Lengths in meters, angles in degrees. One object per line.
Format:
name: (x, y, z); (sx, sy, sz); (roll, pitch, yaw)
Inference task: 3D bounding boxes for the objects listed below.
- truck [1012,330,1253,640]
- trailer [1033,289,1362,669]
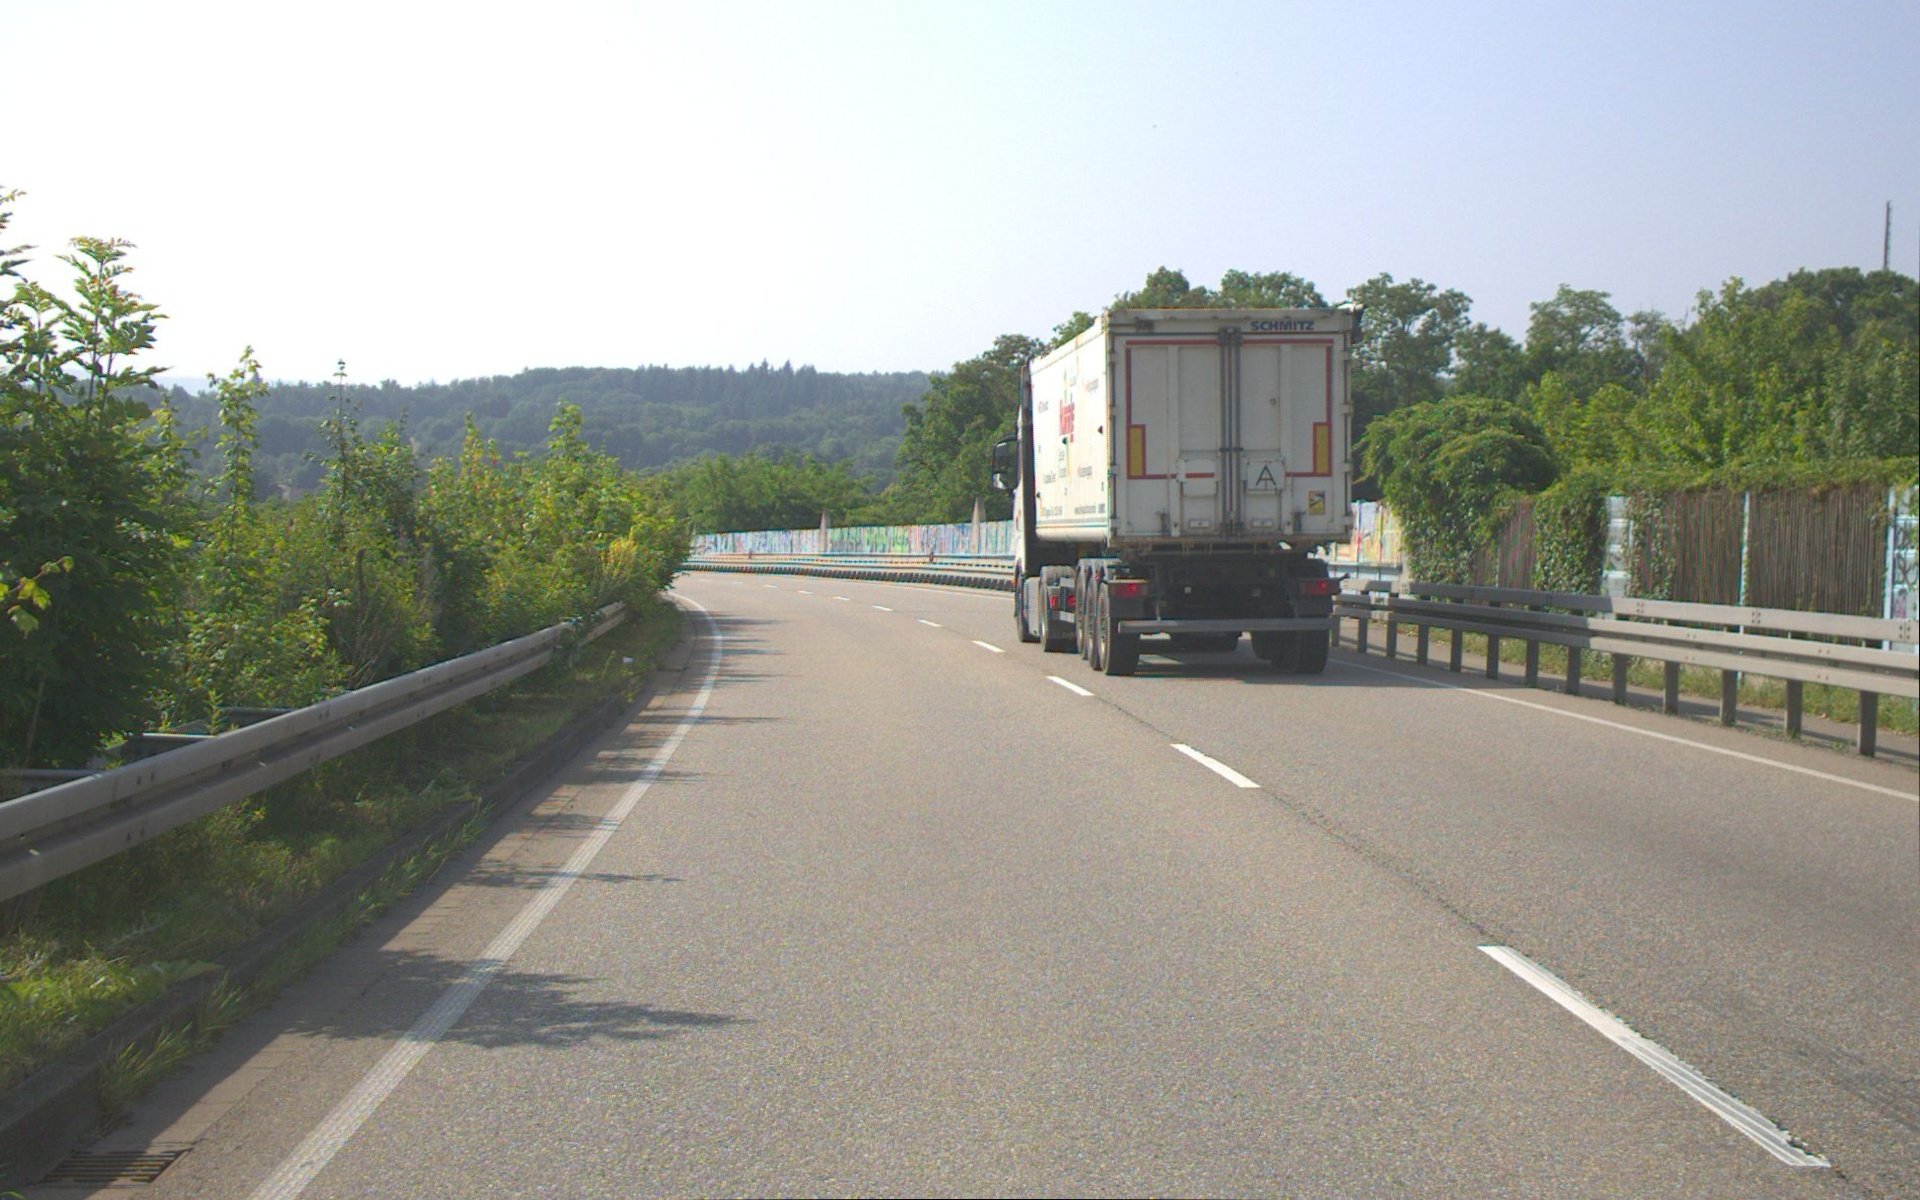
truck: (2.213, -1.510, 46.017); (2.658, 3.882, 5.649); (0, 1, -3)
trailer: (2.541, -1.363, 40.101); (2.679, 3.893, 9.674); (0, 1, -3)
